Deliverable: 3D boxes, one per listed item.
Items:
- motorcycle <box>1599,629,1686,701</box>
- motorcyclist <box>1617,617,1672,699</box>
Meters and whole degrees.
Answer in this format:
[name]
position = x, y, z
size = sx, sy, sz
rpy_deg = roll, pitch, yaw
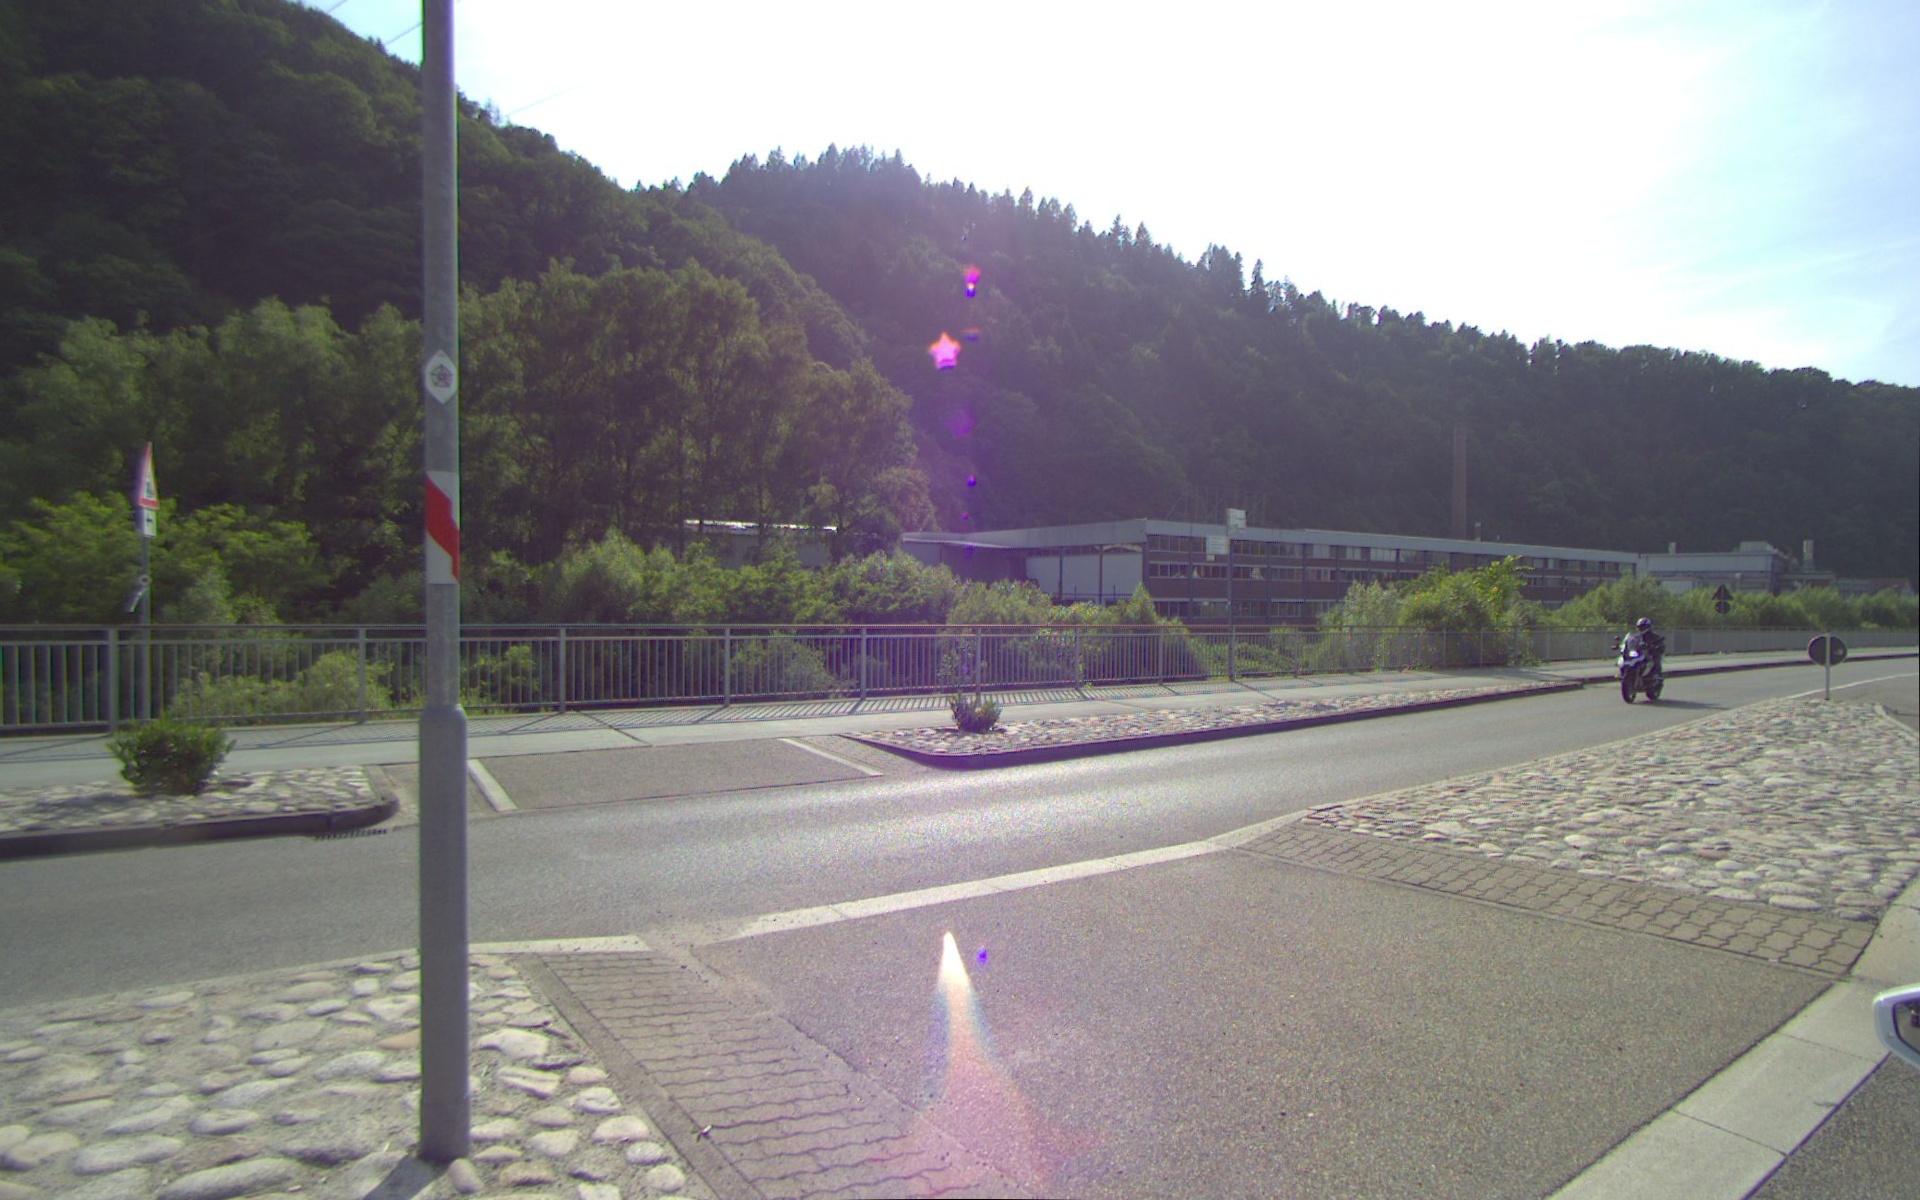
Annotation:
[motorcycle]
position = 14.502, 1.341, 21.319
size = 2.295, 1.441, 0.767
rpy_deg = 1, -1, -35
[motorcyclist]
position = 14.524, 1.223, 21.321
size = 0.719, 1.700, 0.758
rpy_deg = 2, -1, -34
